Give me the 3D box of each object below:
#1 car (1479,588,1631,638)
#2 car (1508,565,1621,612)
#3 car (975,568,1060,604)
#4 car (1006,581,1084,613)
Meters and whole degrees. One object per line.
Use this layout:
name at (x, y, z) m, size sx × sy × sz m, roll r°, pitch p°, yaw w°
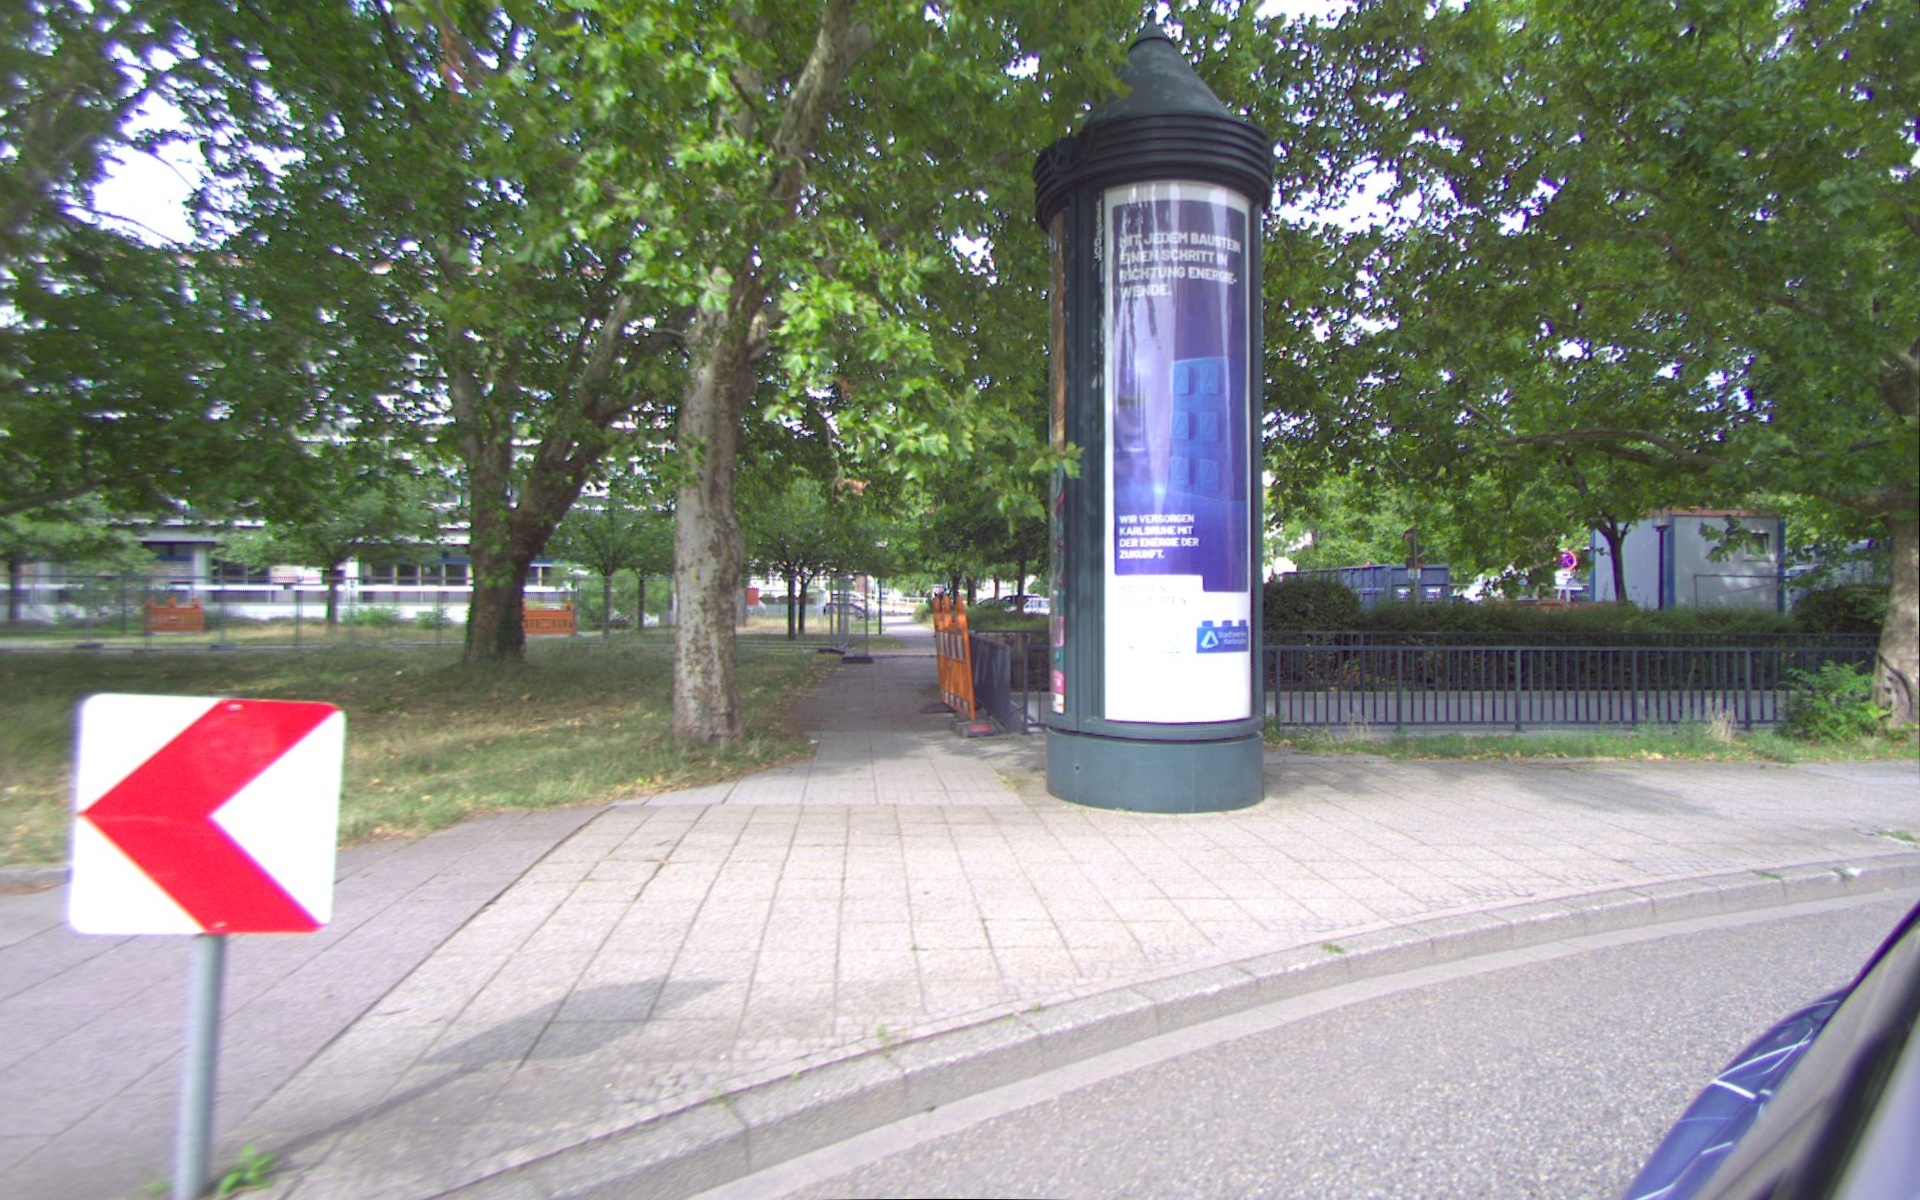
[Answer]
car at (22.318, 0.503, 38.060) m, size 4.675 × 1.817 × 2.002 m, roll 1°, pitch -2°, yaw -8°
car at (35.949, -0.673, 60.278) m, size 5.384 × 2.647 × 2.446 m, roll 1°, pitch -2°, yaw -8°
car at (3.379, -0.810, 60.083) m, size 4.675 × 2.040 × 2.002 m, roll 1°, pitch -2°, yaw -8°
car at (4.424, -0.149, 52.906) m, size 3.712 × 1.601 × 2.002 m, roll 1°, pitch -2°, yaw -8°
